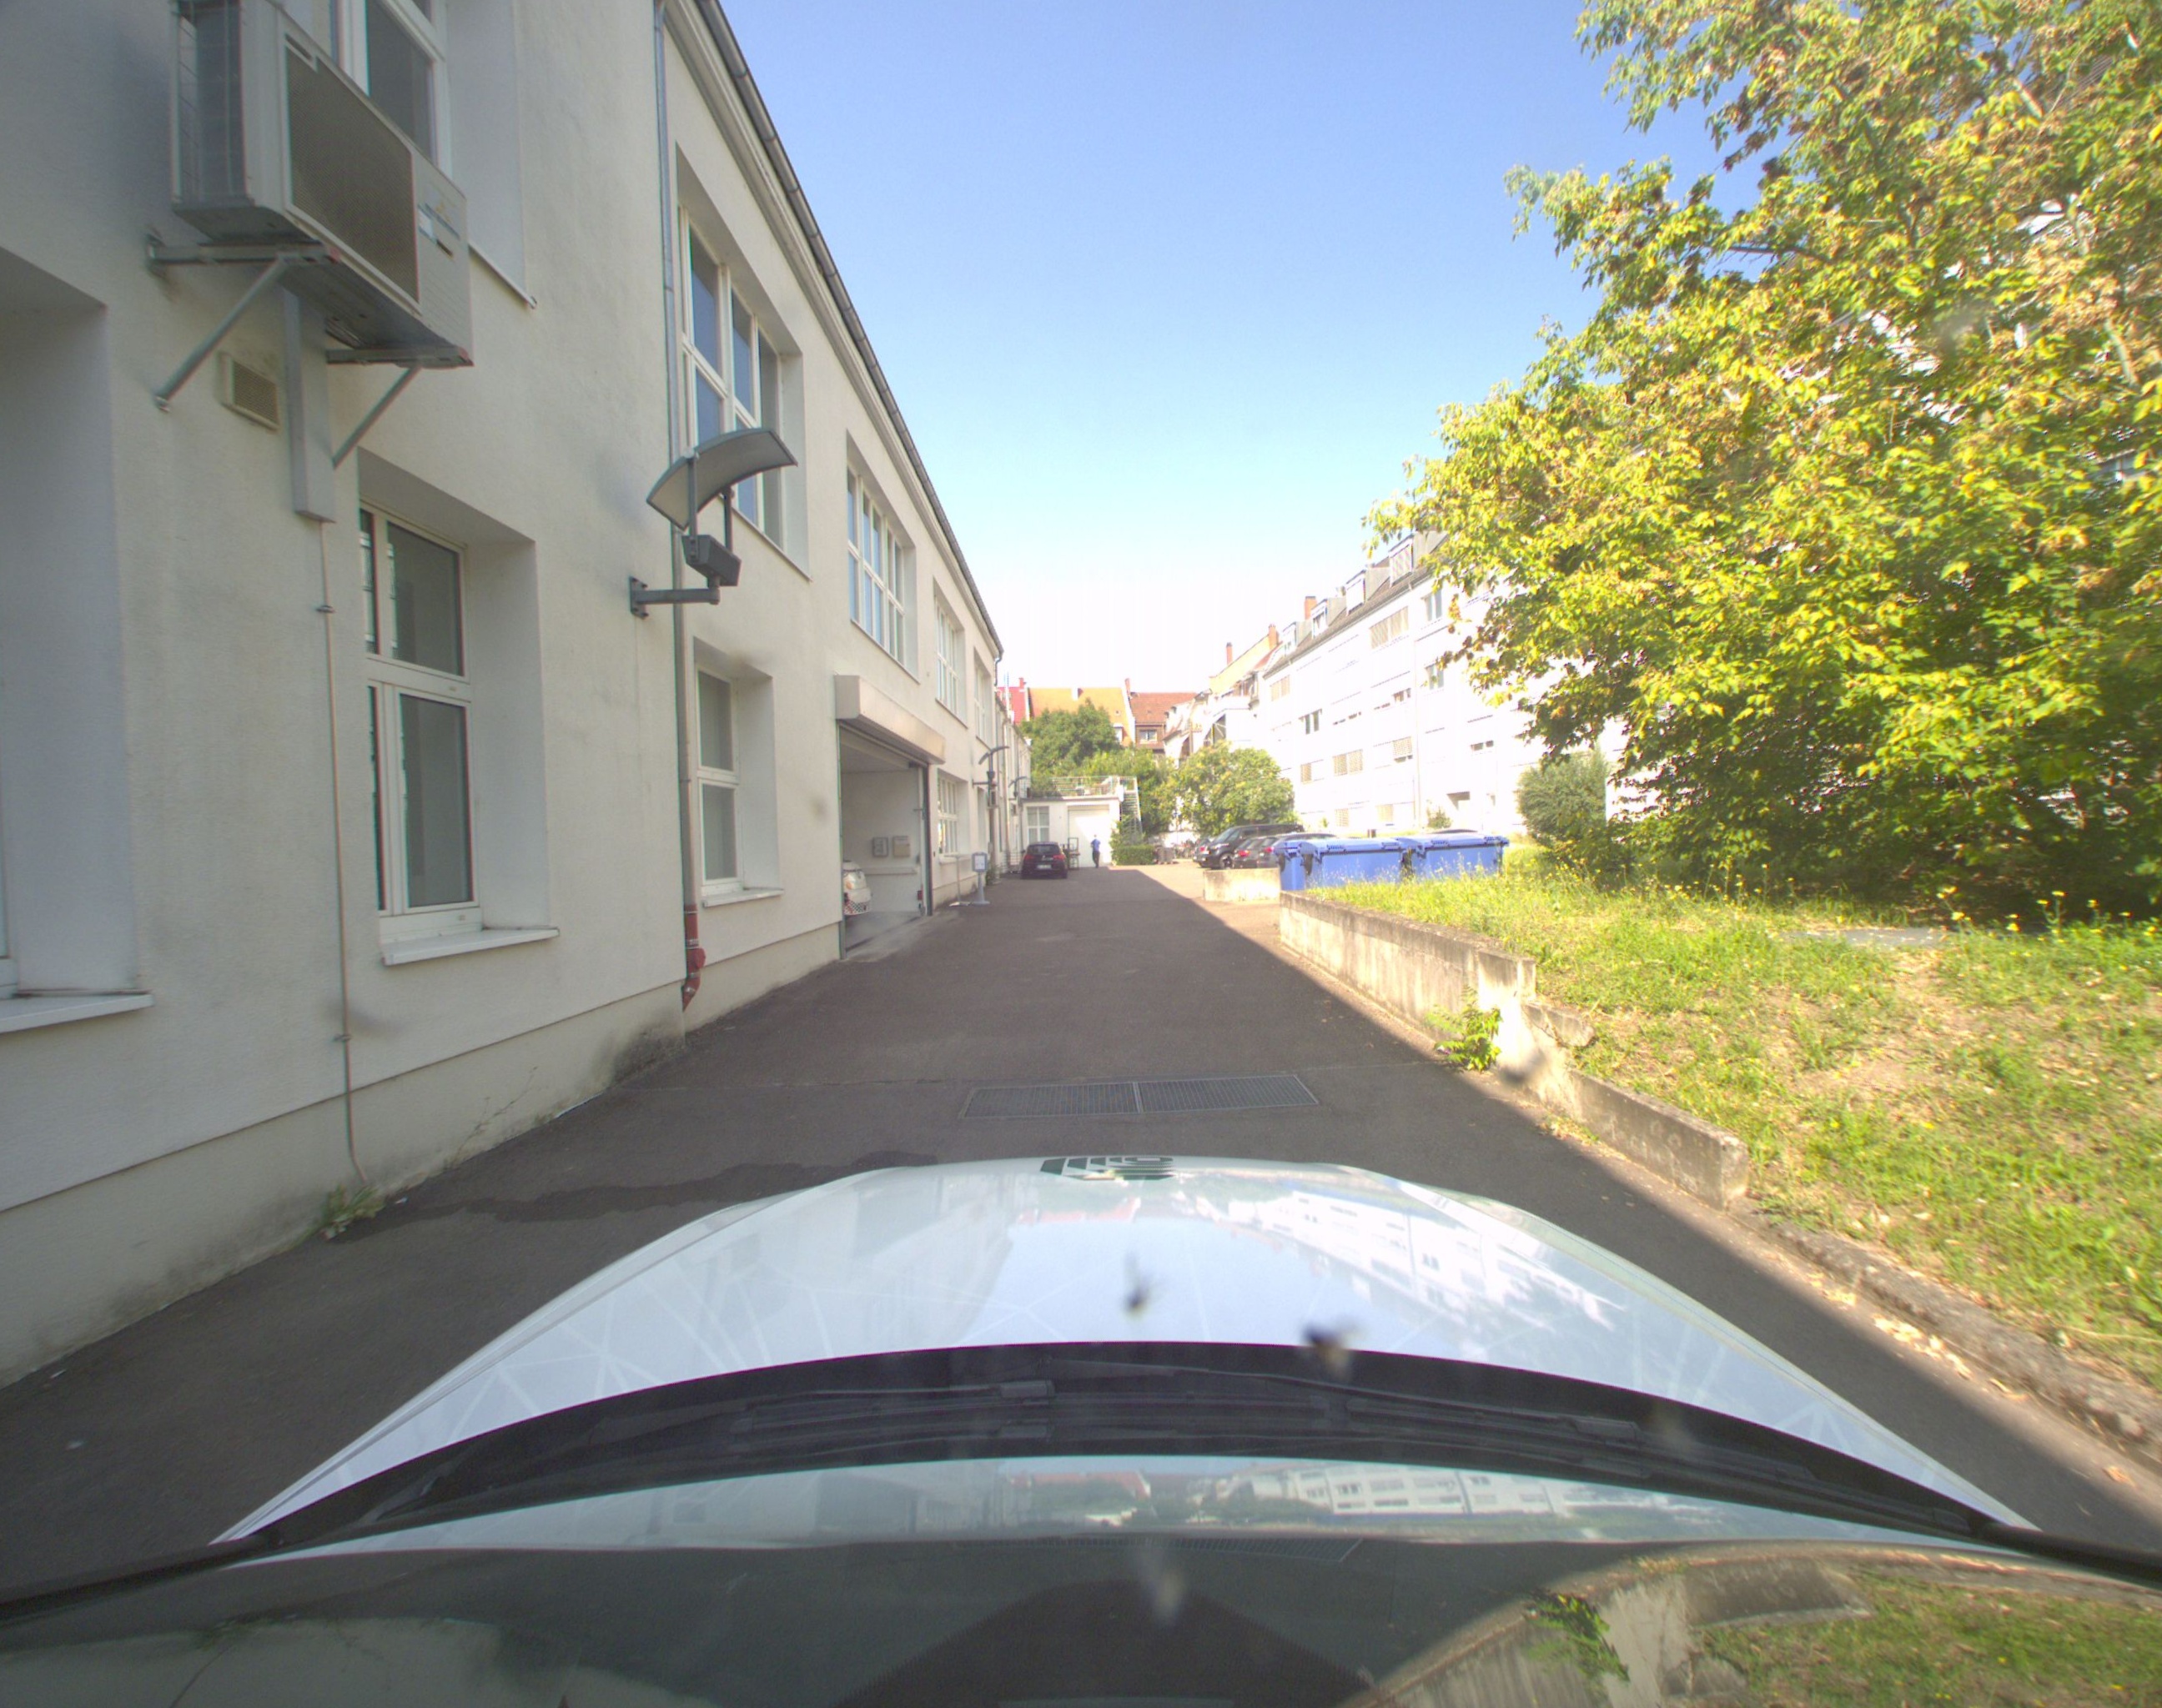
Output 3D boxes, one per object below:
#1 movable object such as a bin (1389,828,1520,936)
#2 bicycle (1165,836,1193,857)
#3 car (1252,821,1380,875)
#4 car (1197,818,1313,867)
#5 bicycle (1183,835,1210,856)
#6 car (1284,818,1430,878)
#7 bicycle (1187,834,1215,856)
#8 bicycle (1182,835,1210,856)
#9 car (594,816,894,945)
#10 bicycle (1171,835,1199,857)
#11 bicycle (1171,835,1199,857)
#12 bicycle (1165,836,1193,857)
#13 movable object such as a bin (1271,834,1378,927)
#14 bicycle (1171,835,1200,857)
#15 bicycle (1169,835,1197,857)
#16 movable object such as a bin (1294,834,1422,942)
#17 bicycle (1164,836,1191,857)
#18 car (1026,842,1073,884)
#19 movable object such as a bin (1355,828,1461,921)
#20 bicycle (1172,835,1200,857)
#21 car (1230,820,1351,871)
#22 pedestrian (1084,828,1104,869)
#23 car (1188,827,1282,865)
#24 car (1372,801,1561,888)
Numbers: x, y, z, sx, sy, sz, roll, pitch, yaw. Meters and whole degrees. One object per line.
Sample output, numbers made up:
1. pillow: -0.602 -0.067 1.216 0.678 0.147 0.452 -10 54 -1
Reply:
1. movable object such as a bin: 5.105 0.362 11.208 1.224 1.340 1.075 -3 0 -4
2. bicycle: 6.230 -0.495 51.869 1.621 1.214 0.423 -5 1 -5
3. car: 8.183 -0.217 28.529 3.856 1.589 1.876 -3 0 -5
4. car: 7.539 -0.503 35.549 4.499 1.794 1.877 -4 0 -9
5. bicycle: 7.440 -0.570 52.556 1.612 1.214 0.425 -4 1 12
6. car: 8.526 -0.191 25.325 3.799 1.589 1.891 -3 1 -10
7. bicycle: 7.390 -0.542 50.093 1.611 1.214 0.328 -4 1 15
8. bicycle: 7.286 -0.551 51.530 1.612 1.214 0.425 -4 1 12
9. car: -6.239 0.459 15.521 4.731 2.092 2.056 -3 0 0
10. bicycle: 6.392 -0.486 50.193 1.613 1.214 0.328 -4 1 10
11. bicycle: 6.351 -0.479 49.742 1.617 1.214 0.327 -4 1 1
12. bicycle: 6.139 -0.483 51.234 1.618 1.214 0.424 -4 1 -1
13. movable object such as a bin: 3.836 0.396 12.967 1.296 1.340 1.194 -3 0 0
14. bicycle: 6.307 -0.470 49.127 1.617 1.214 0.327 -4 1 1
15. bicycle: 6.319 -0.486 50.557 1.612 1.214 0.328 -4 1 13
16. movable object such as a bin: 3.779 0.437 11.214 1.306 1.340 1.099 -3 0 -3
17. bicycle: 6.232 -0.501 52.471 1.620 1.214 0.423 -5 1 -5
18. car: -1.207 0.314 32.406 1.683 1.459 3.921 -3 1 -1
19. movable object such as a bin: 5.155 0.305 12.926 1.229 1.340 1.118 -3 0 4
20. bicycle: 6.377 -0.477 49.448 1.617 1.214 0.327 -4 1 1
21. car: 8.018 -0.317 31.348 4.107 1.691 1.770 -3 0 -3
22. pedestrian: 0.661 -0.278 41.353 0.910 2.013 0.935 -3 0 1
23. car: 7.250 -0.358 38.436 3.931 1.482 1.769 -4 0 -9
24. car: 9.261 -0.228 19.767 3.610 1.544 1.802 -7 1 -2
